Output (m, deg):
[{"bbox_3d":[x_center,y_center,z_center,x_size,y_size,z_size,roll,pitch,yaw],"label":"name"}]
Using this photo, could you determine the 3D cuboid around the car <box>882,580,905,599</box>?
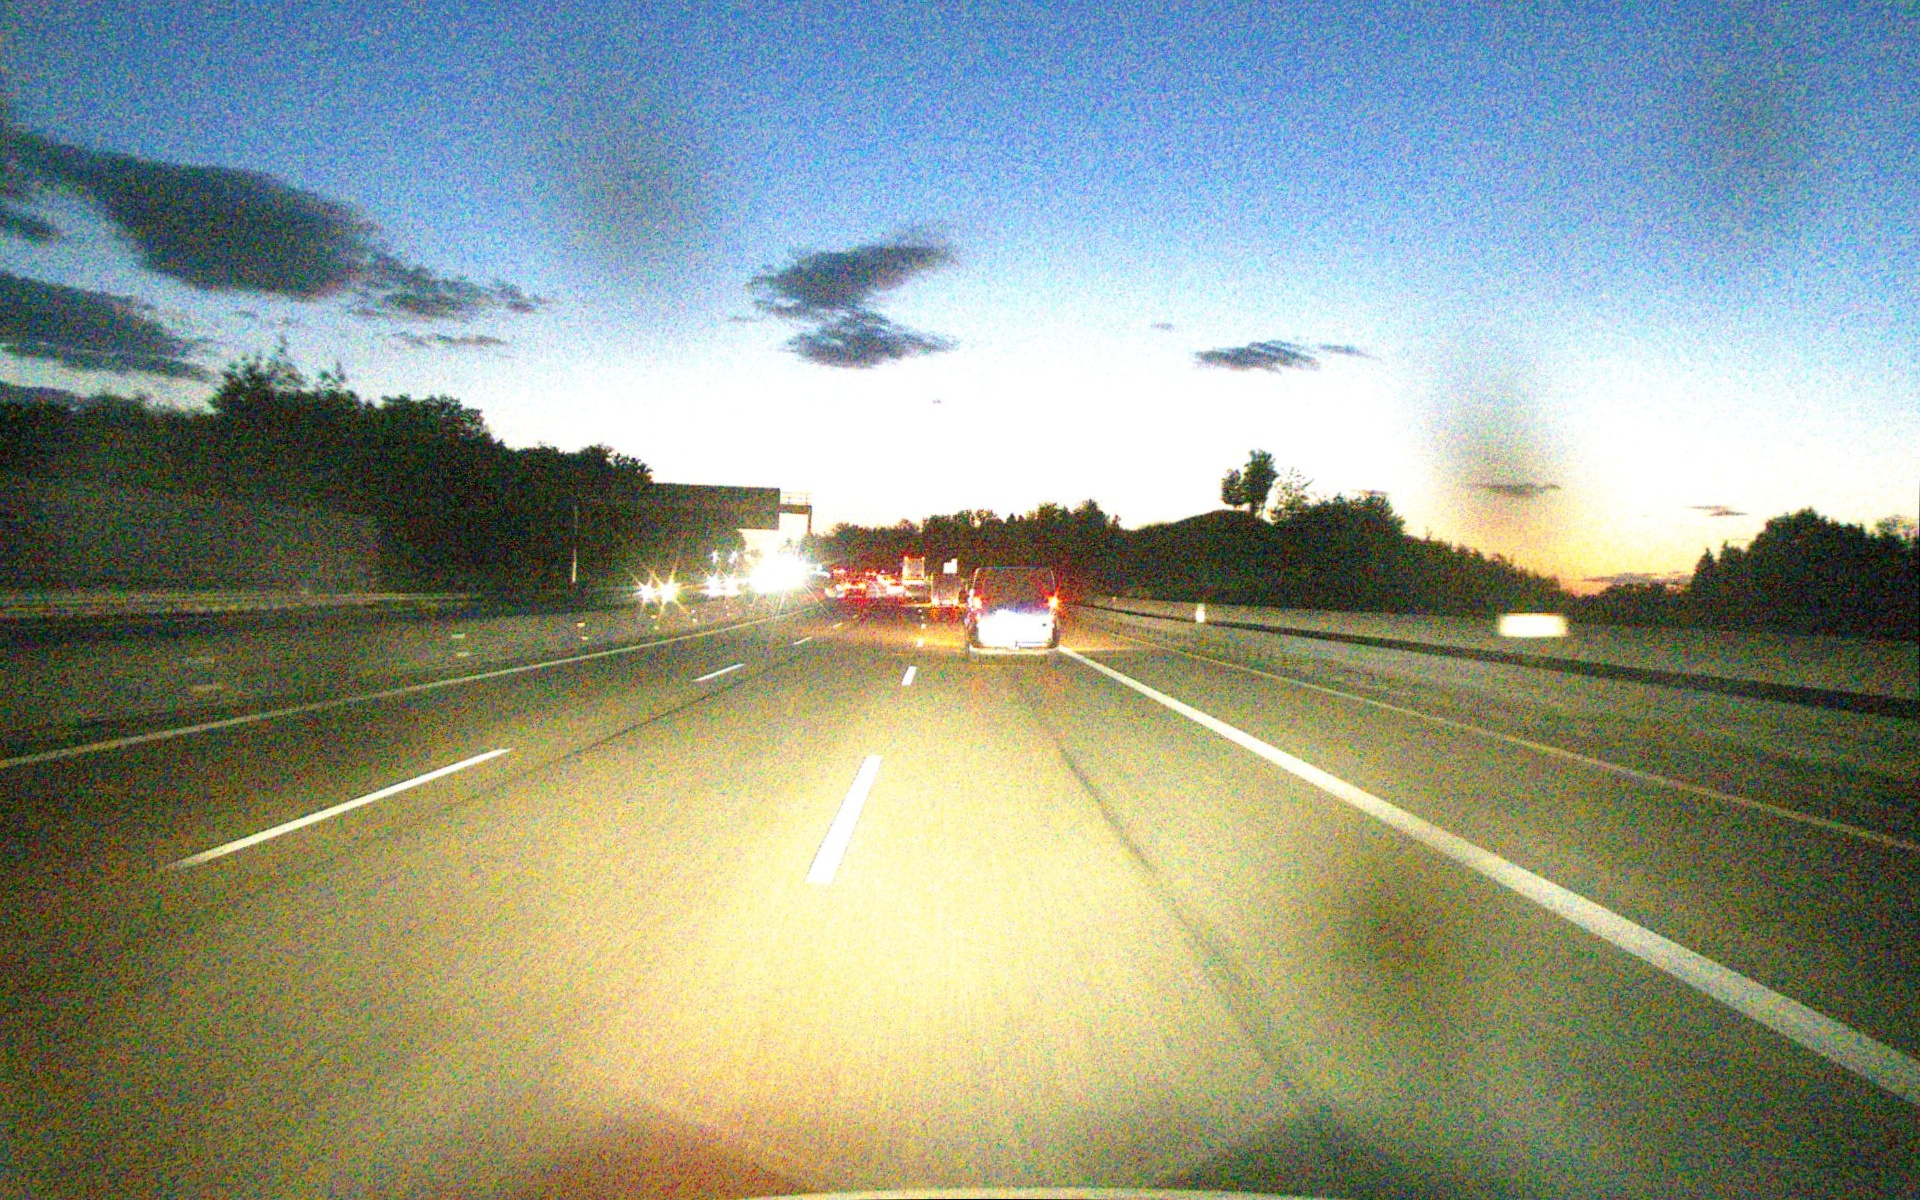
[{"bbox_3d":[-6.649,-1.034,164.956,1.955,1.825,3.994,0,-1,-7],"label":"car"}]

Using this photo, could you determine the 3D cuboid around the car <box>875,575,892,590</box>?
[{"bbox_3d":[-10.129,-2.315,219.124,1.955,1.825,3.994,0,-1,-6],"label":"car"}]

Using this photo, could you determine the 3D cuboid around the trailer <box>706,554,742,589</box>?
[{"bbox_3d":[-27.334,-3.283,191.729,3.361,4.049,7.349,0,1,-2],"label":"trailer"}]

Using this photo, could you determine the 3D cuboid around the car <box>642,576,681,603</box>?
[{"bbox_3d":[-19.479,-0.672,108.135,1.785,1.724,4.671,0,-1,-2],"label":"car"}]

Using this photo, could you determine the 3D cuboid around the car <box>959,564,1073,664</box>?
[{"bbox_3d":[1.138,0.247,36.555,2.073,2.036,5.661,0,1,-3],"label":"car"}]

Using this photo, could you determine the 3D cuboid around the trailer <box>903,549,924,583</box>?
[{"bbox_3d":[-6.774,-4.888,239.260,2.773,4.331,17.038,0,-1,-3],"label":"trailer"}]

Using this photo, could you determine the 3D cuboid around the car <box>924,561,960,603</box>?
[{"bbox_3d":[-1.259,-1.223,111.423,1.992,2.693,5.719,0,1,-5],"label":"car"}]

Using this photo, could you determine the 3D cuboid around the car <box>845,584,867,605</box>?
[{"bbox_3d":[-9.344,-0.508,148.764,1.954,1.848,3.997,0,-1,-3],"label":"car"}]
